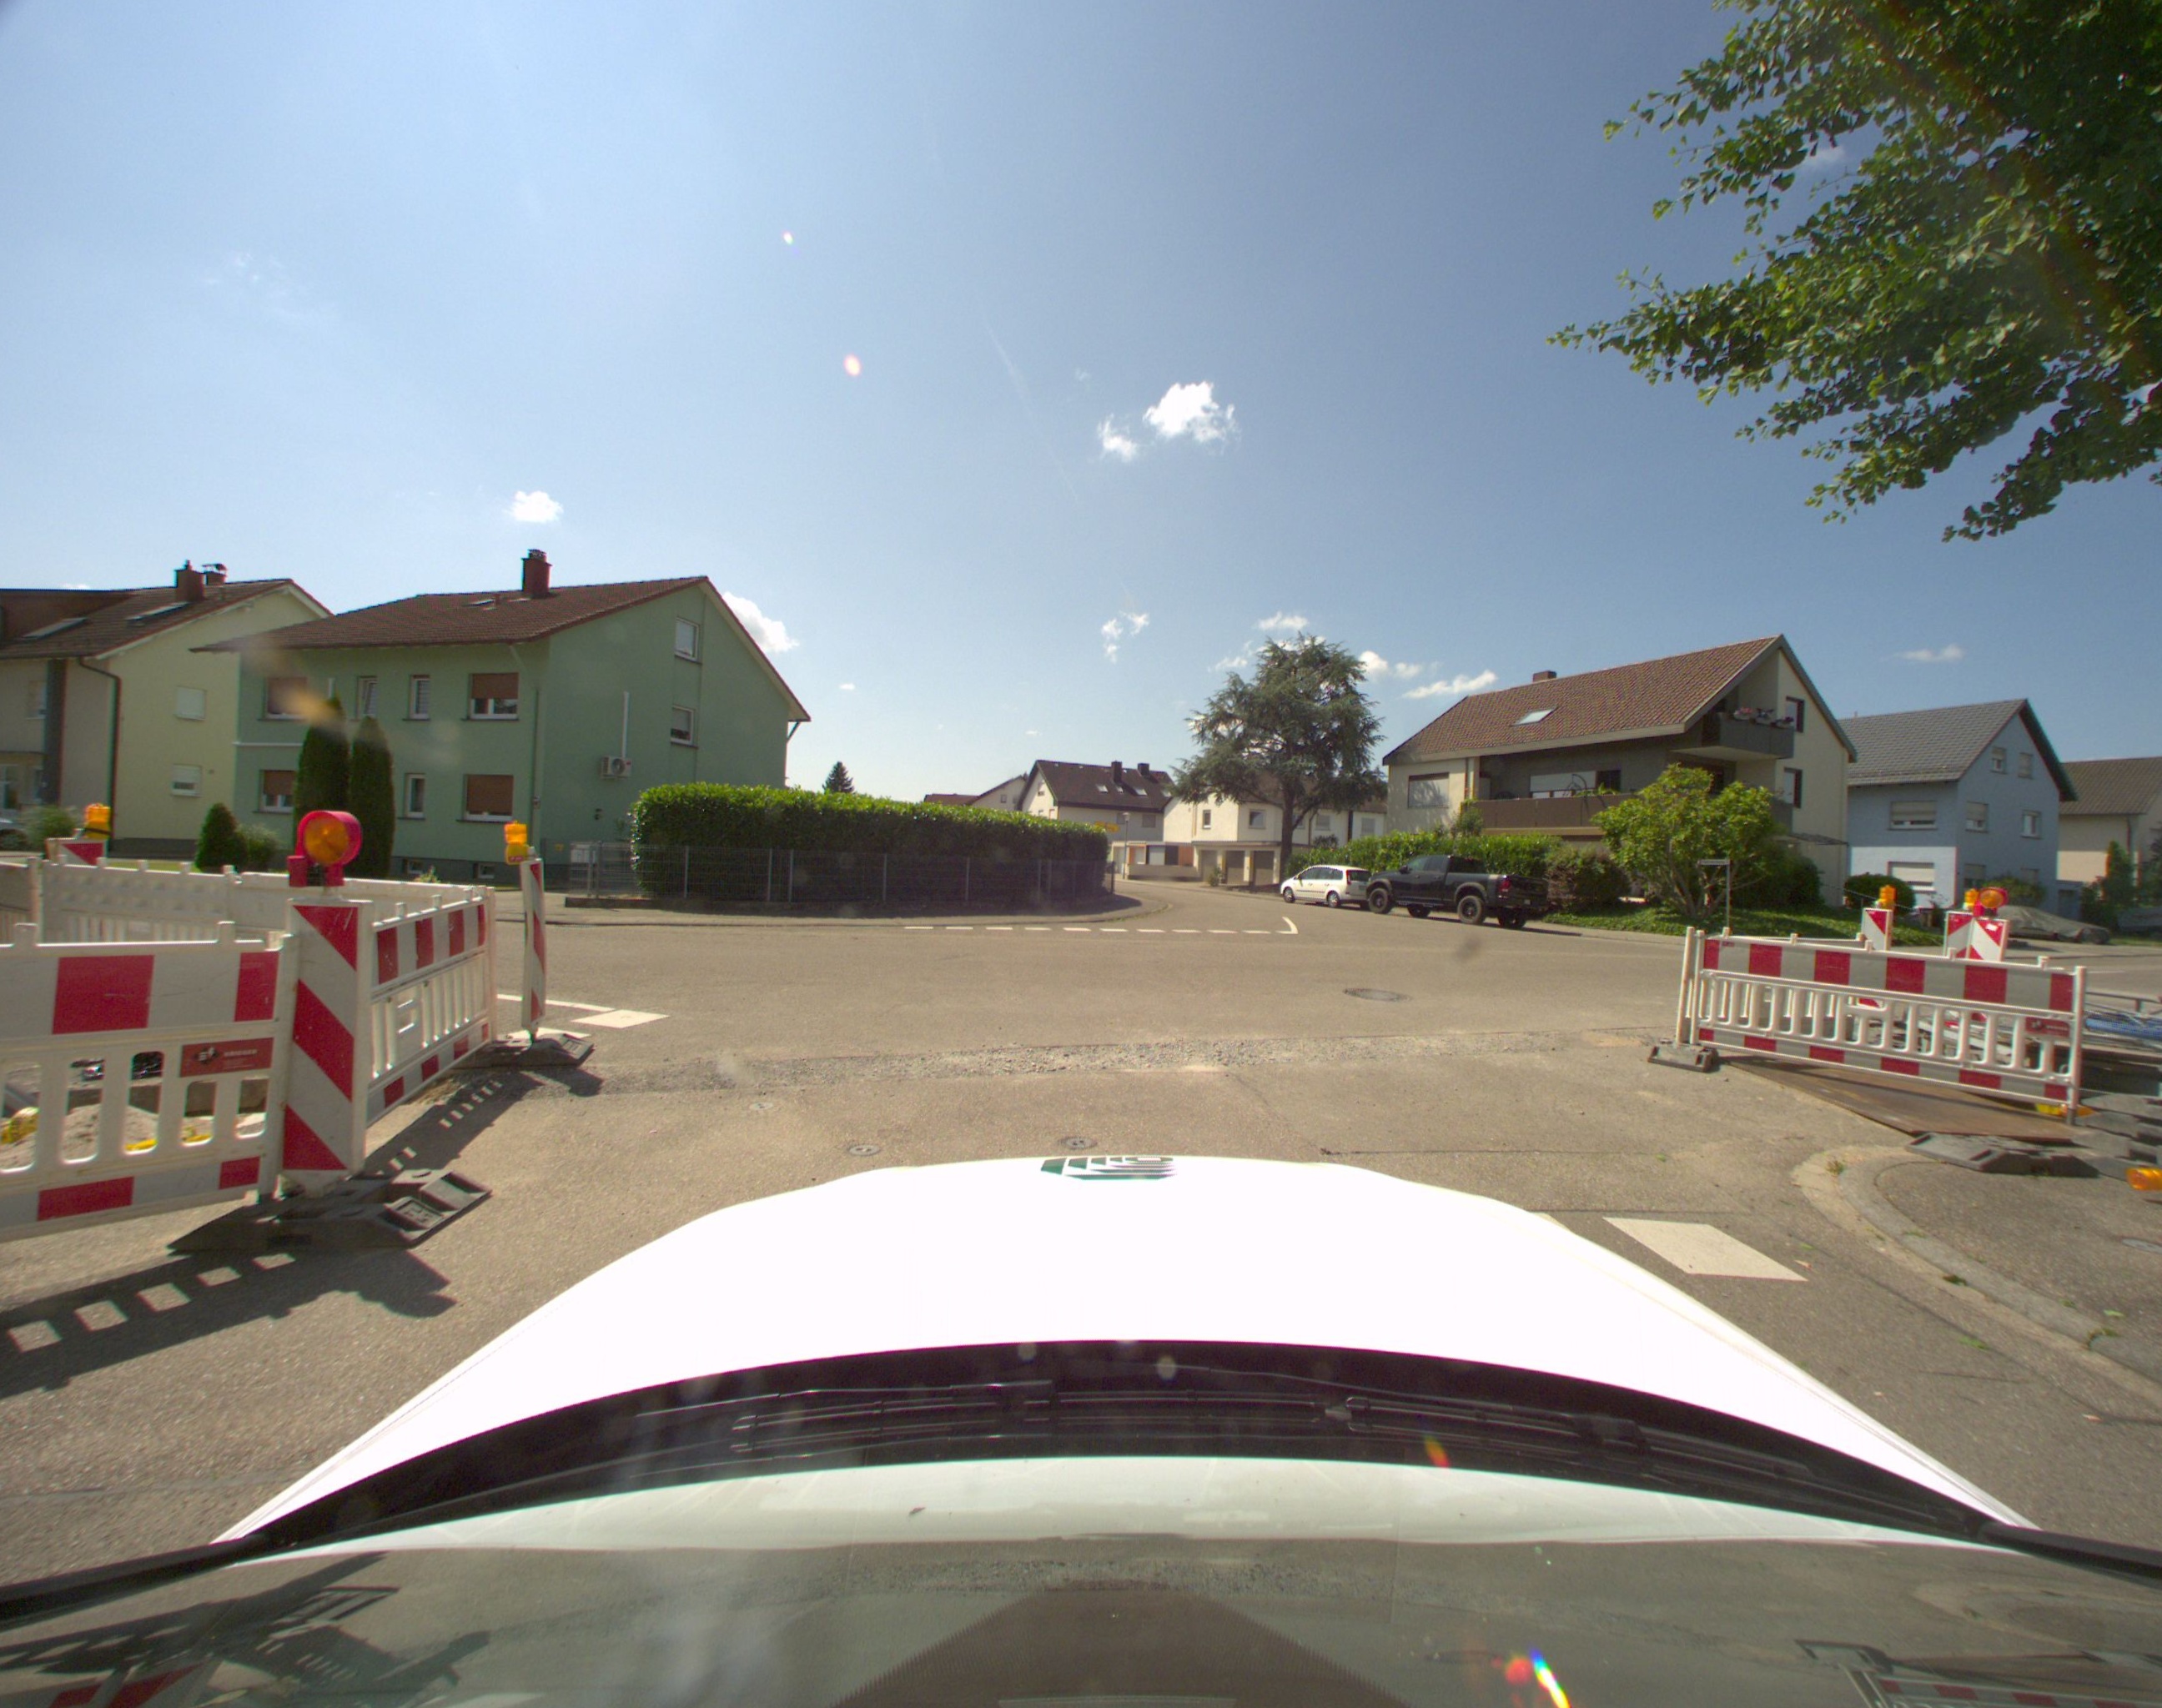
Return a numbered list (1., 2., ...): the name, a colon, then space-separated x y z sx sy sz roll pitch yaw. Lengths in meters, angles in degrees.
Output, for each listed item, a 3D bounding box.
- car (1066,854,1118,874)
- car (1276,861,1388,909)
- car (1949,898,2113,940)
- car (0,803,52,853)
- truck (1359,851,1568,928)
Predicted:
1. car: 0.852 0.756 64.022 3.614 1.408 1.770 3 0 -23
2. car: 9.620 1.156 31.501 1.806 1.563 4.110 3 0 -25
3. car: 38.648 2.605 33.238 2.003 1.342 3.968 3 0 -25
4. car: -33.864 -0.819 24.034 1.754 1.509 3.944 3 1 17
5. truck: 11.693 1.008 25.437 2.375 2.013 5.665 2 0 -26
